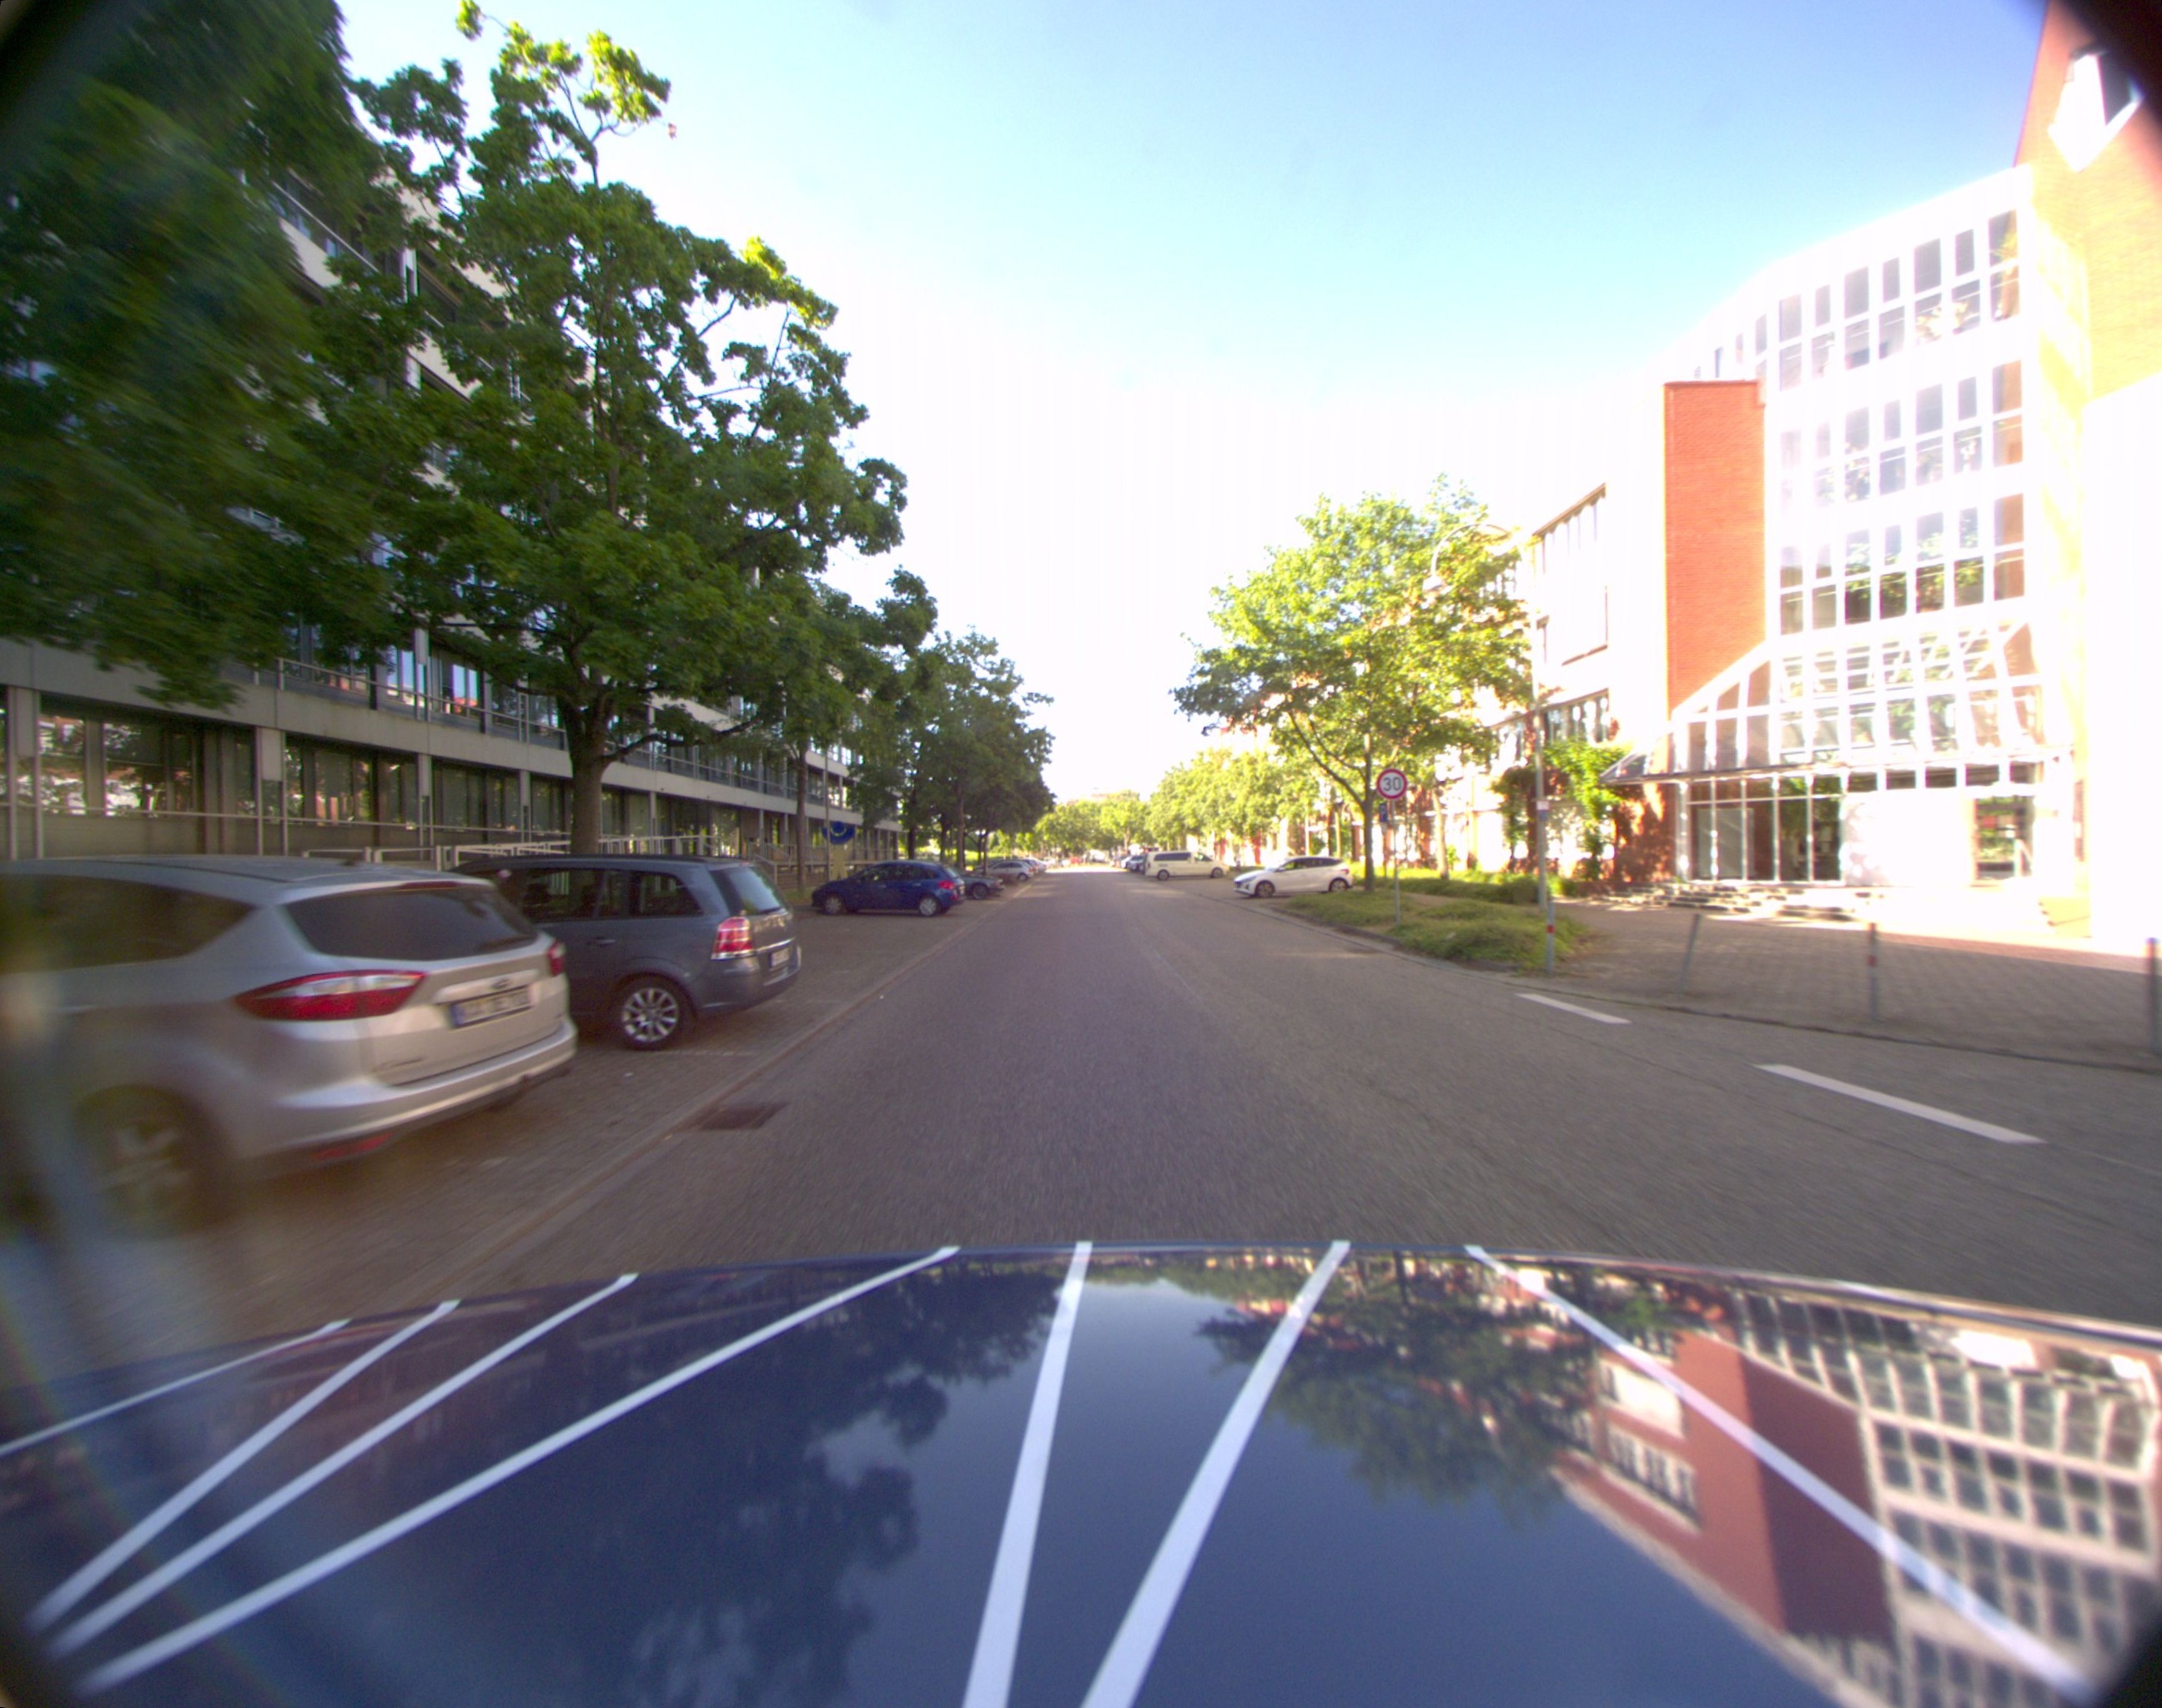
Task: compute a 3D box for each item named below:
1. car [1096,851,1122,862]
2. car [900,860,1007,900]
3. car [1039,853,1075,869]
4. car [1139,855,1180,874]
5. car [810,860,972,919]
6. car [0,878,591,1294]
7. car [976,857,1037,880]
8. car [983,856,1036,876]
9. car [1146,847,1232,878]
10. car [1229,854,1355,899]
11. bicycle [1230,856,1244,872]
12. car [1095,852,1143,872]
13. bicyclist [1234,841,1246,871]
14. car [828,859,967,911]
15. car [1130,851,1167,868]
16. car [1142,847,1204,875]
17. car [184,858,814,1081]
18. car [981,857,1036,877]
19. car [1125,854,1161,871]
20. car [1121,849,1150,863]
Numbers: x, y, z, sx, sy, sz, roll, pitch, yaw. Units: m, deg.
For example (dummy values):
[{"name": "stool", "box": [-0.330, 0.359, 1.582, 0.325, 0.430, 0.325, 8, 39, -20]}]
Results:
[{"name": "car", "box": [3.757, 0.358, 102.637, 3.345, 1.464, 1.515, 0, 0, -1]}, {"name": "car", "box": [-4.864, 0.988, 29.425, 3.917, 1.374, 1.586, 1, 1, -4]}, {"name": "car", "box": [-2.413, 0.683, 76.477, 3.555, 1.544, 1.743, 1, -2, -3]}, {"name": "car", "box": [6.818, 0.899, 66.231, 3.451, 1.546, 1.594, 0, 0, -1]}, {"name": "car", "box": [-5.197, 0.953, 21.090, 3.996, 1.486, 1.714, 1, 0, 3]}, {"name": "car", "box": [-5.048, 0.948, 3.859, 3.997, 1.575, 1.714, 0, 0, 1]}, {"name": "car", "box": [-4.995, 0.983, 51.402, 3.998, 1.471, 1.803, 0, 0, -3]}, {"name": "car", "box": [-5.541, 0.934, 59.349, 3.998, 1.470, 1.803, 1, 0, -3]}, {"name": "car", "box": [6.987, 0.527, 49.500, 5.318, 1.875, 2.000, -1, 0, 1]}, {"name": "car", "box": [7.449, 0.784, 27.048, 4.004, 1.411, 1.618, -2, 0, -1]}, {"name": "bicycle", "box": [10.686, 0.668, 51.971, 0.637, 1.092, 2.155, -1, 0, 3]}, {"name": "car", "box": [3.164, 0.682, 64.072, 4.007, 1.637, 1.795, 0, 0, 1]}, {"name": "bicyclist", "box": [10.848, 0.136, 51.933, 0.633, 2.002, 0.609, -3, 1, 3]}, {"name": "car", "box": [-5.681, 0.941, 23.815, 3.915, 1.486, 1.588, 1, 0, 3]}, {"name": "car", "box": [6.578, 0.534, 74.166, 3.451, 1.619, 1.594, 0, 0, -1]}, {"name": "car", "box": [7.220, 0.540, 59.747, 4.634, 2.156, 2.000, 0, 0, 1]}, {"name": "car", "box": [-4.812, 0.887, 6.894, 4.137, 1.657, 1.907, 0, 0, -5]}, {"name": "car", "box": [-5.339, 0.953, 56.705, 3.998, 1.470, 1.803, 1, 0, -3]}, {"name": "car", "box": [6.237, 0.855, 76.350, 3.451, 1.647, 1.594, 0, 0, -1]}, {"name": "car", "box": [6.658, 0.278, 93.303, 3.451, 1.647, 1.594, 0, 0, -1]}]
